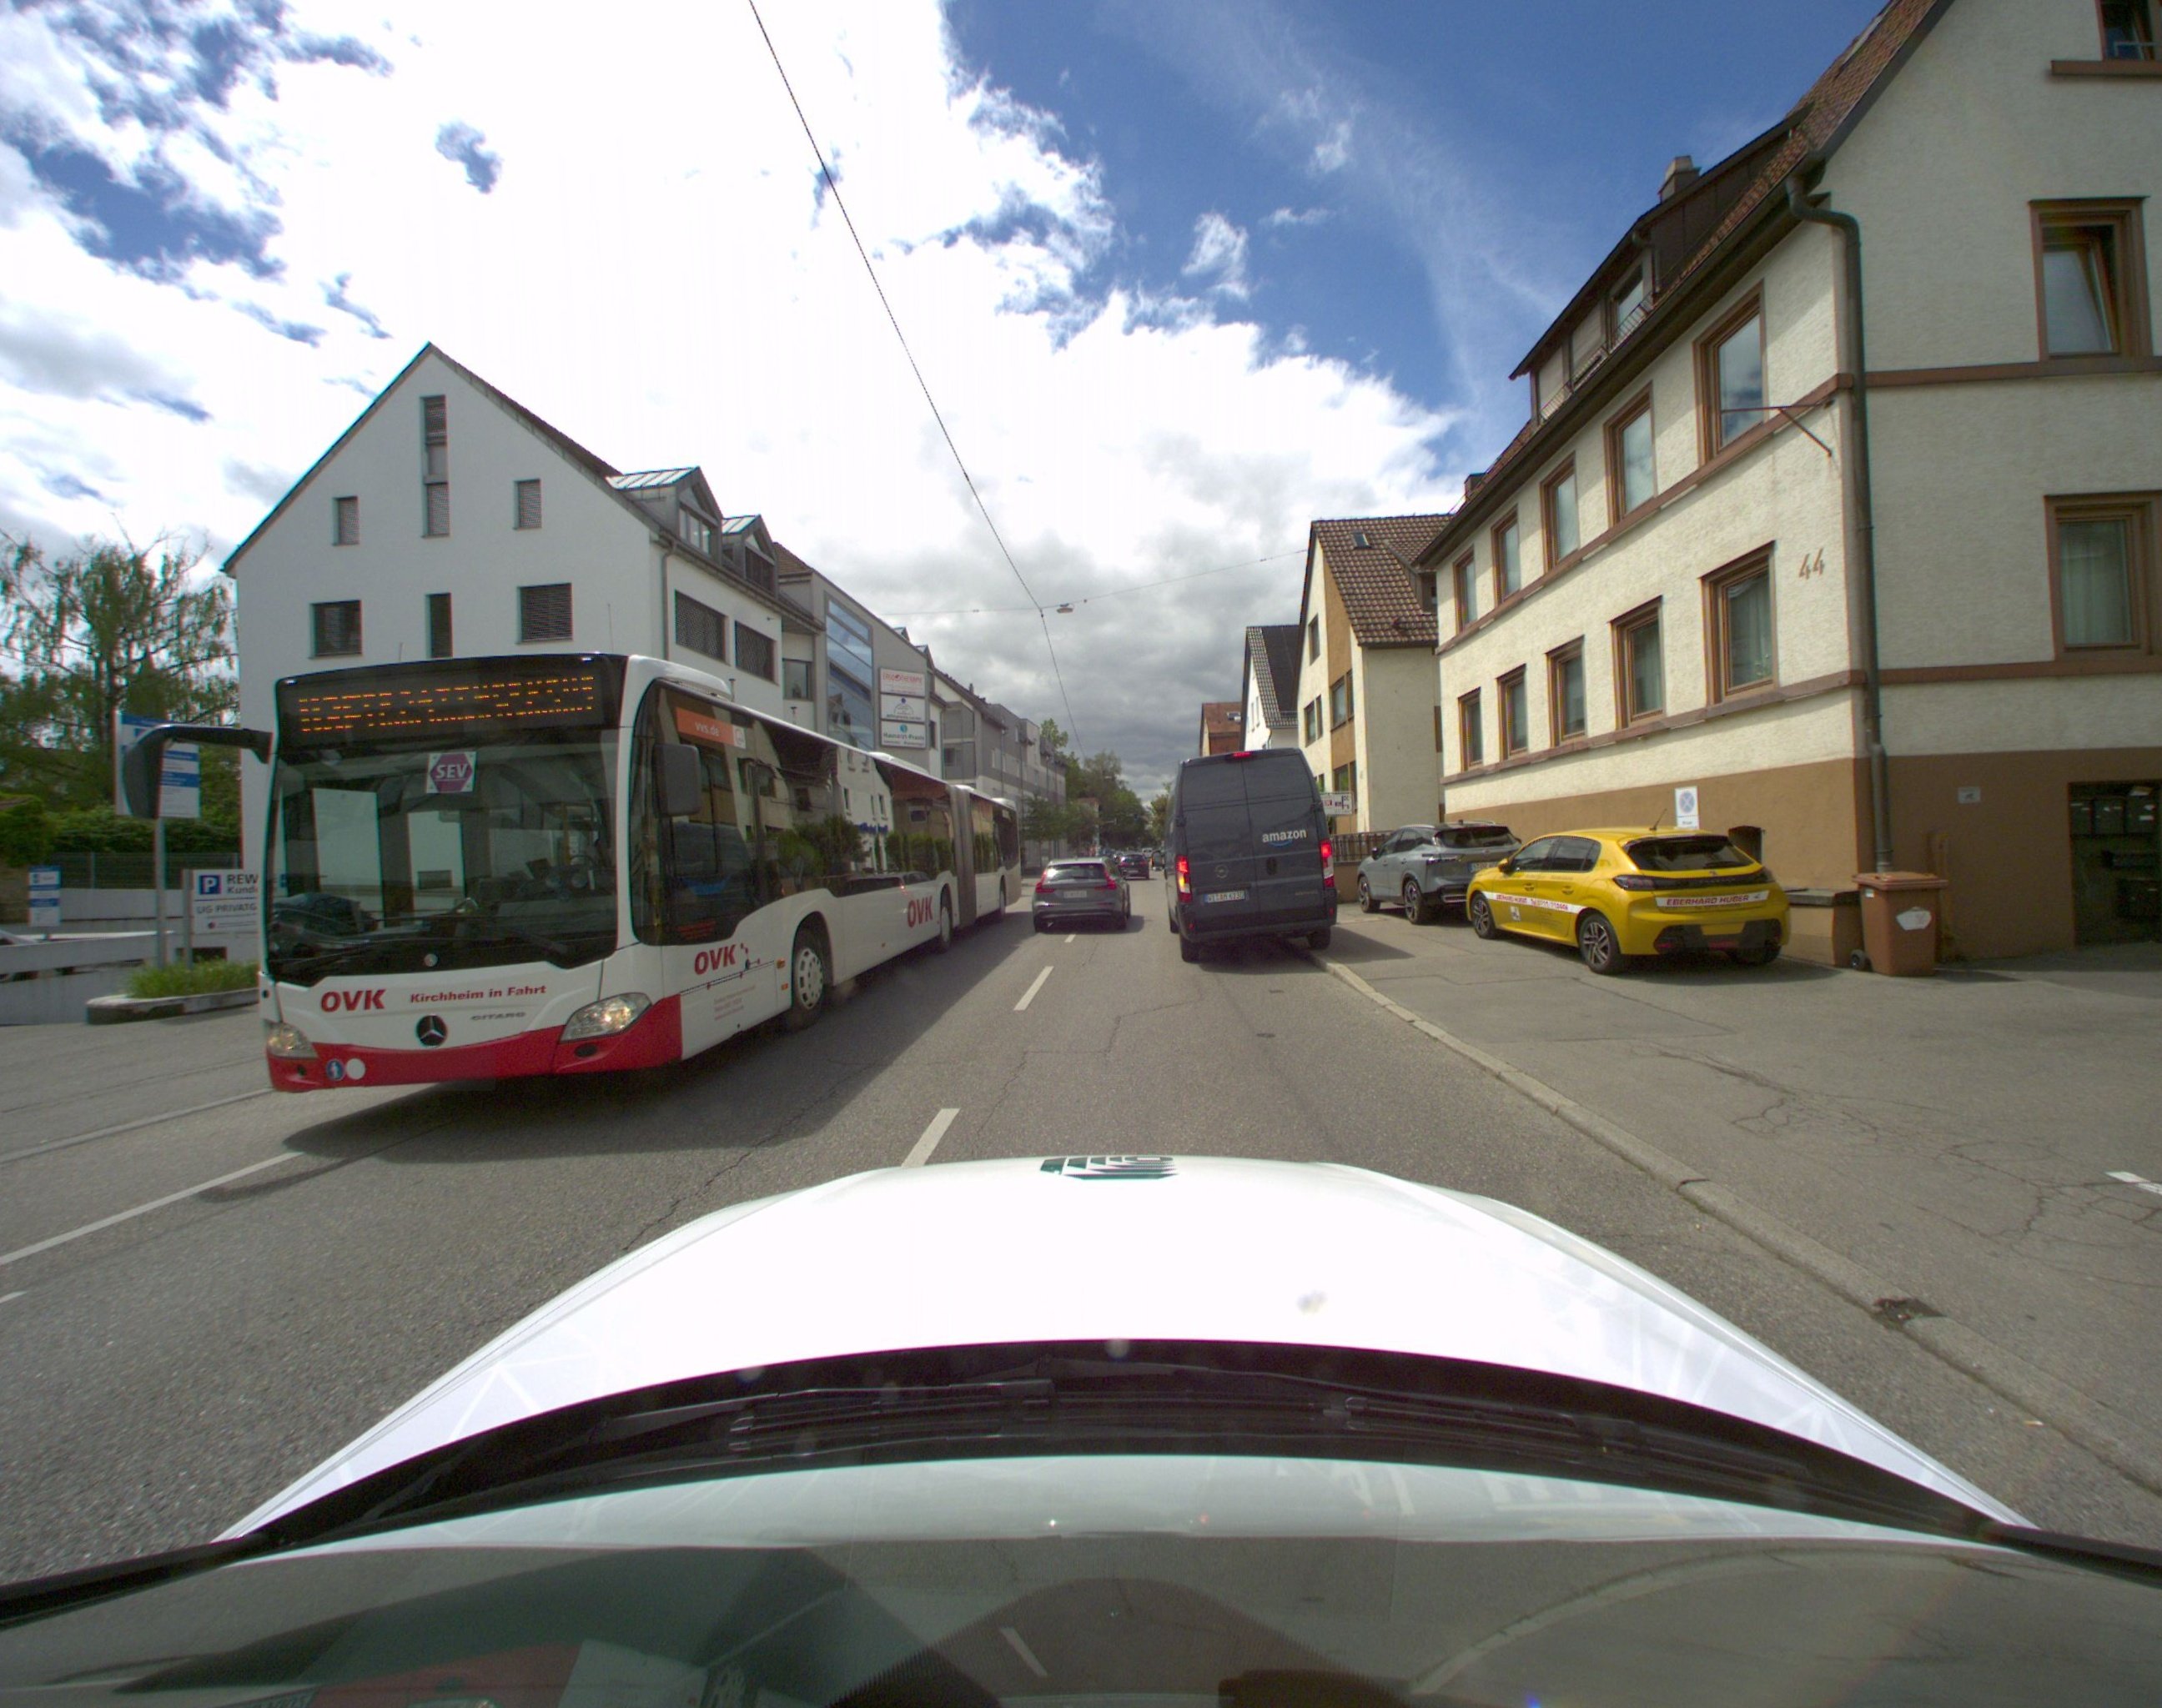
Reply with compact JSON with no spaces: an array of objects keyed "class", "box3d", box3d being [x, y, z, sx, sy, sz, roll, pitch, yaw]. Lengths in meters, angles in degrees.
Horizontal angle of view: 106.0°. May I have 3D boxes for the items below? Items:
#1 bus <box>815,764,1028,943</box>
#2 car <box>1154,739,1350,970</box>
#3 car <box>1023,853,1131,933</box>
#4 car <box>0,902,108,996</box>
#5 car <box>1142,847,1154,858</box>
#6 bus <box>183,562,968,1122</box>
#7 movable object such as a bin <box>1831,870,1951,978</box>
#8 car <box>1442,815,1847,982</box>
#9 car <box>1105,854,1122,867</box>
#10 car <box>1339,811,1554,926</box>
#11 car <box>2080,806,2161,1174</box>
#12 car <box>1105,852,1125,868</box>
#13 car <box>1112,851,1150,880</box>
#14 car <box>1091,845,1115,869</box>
[{"class":"bus","box3d":[-3.189,-0.011,18.868,2.704,3.163,8.077,-2,0,4]},{"class":"car","box3d":[2.365,0.008,12.896,2.242,2.795,5.576,-2,0,4]},{"class":"car","box3d":[0.035,0.750,17.544,1.887,1.453,3.974,-2,0,5]},{"class":"car","box3d":[-19.460,1.709,13.605,1.805,1.529,3.758,-2,0,1]},{"class":"car","box3d":[11.748,-0.267,143.466,1.984,2.013,4.006,-2,0,5]},{"class":"bus","box3d":[-3.678,-0.064,9.848,2.671,3.163,10.190,-2,0,2]},{"class":"movable object such as a bin","box3d":[7.478,0.632,7.541,0.498,0.925,0.599,-2,0,7]},{"class":"car","box3d":[6.125,0.325,9.612,1.870,1.447,4.309,-3,2,1]},{"class":"car","box3d":[4.230,0.777,104.516,2.097,1.596,4.653,-2,0,3]},{"class":"car","box3d":[6.163,0.205,14.410,1.853,1.612,4.589,-3,0,3]},{"class":"car","box3d":[5.138,0.497,1.135,1.961,1.447,4.537,-3,0,1]},{"class":"car","box3d":[3.906,0.690,92.545,2.097,1.709,4.769,-2,0,3]},{"class":"car","box3d":[2.770,0.569,44.070,1.887,1.446,3.974,-2,0,5]},{"class":"car","box3d":[2.159,0.282,80.165,2.097,2.121,4.769,-4,0,3]}]
